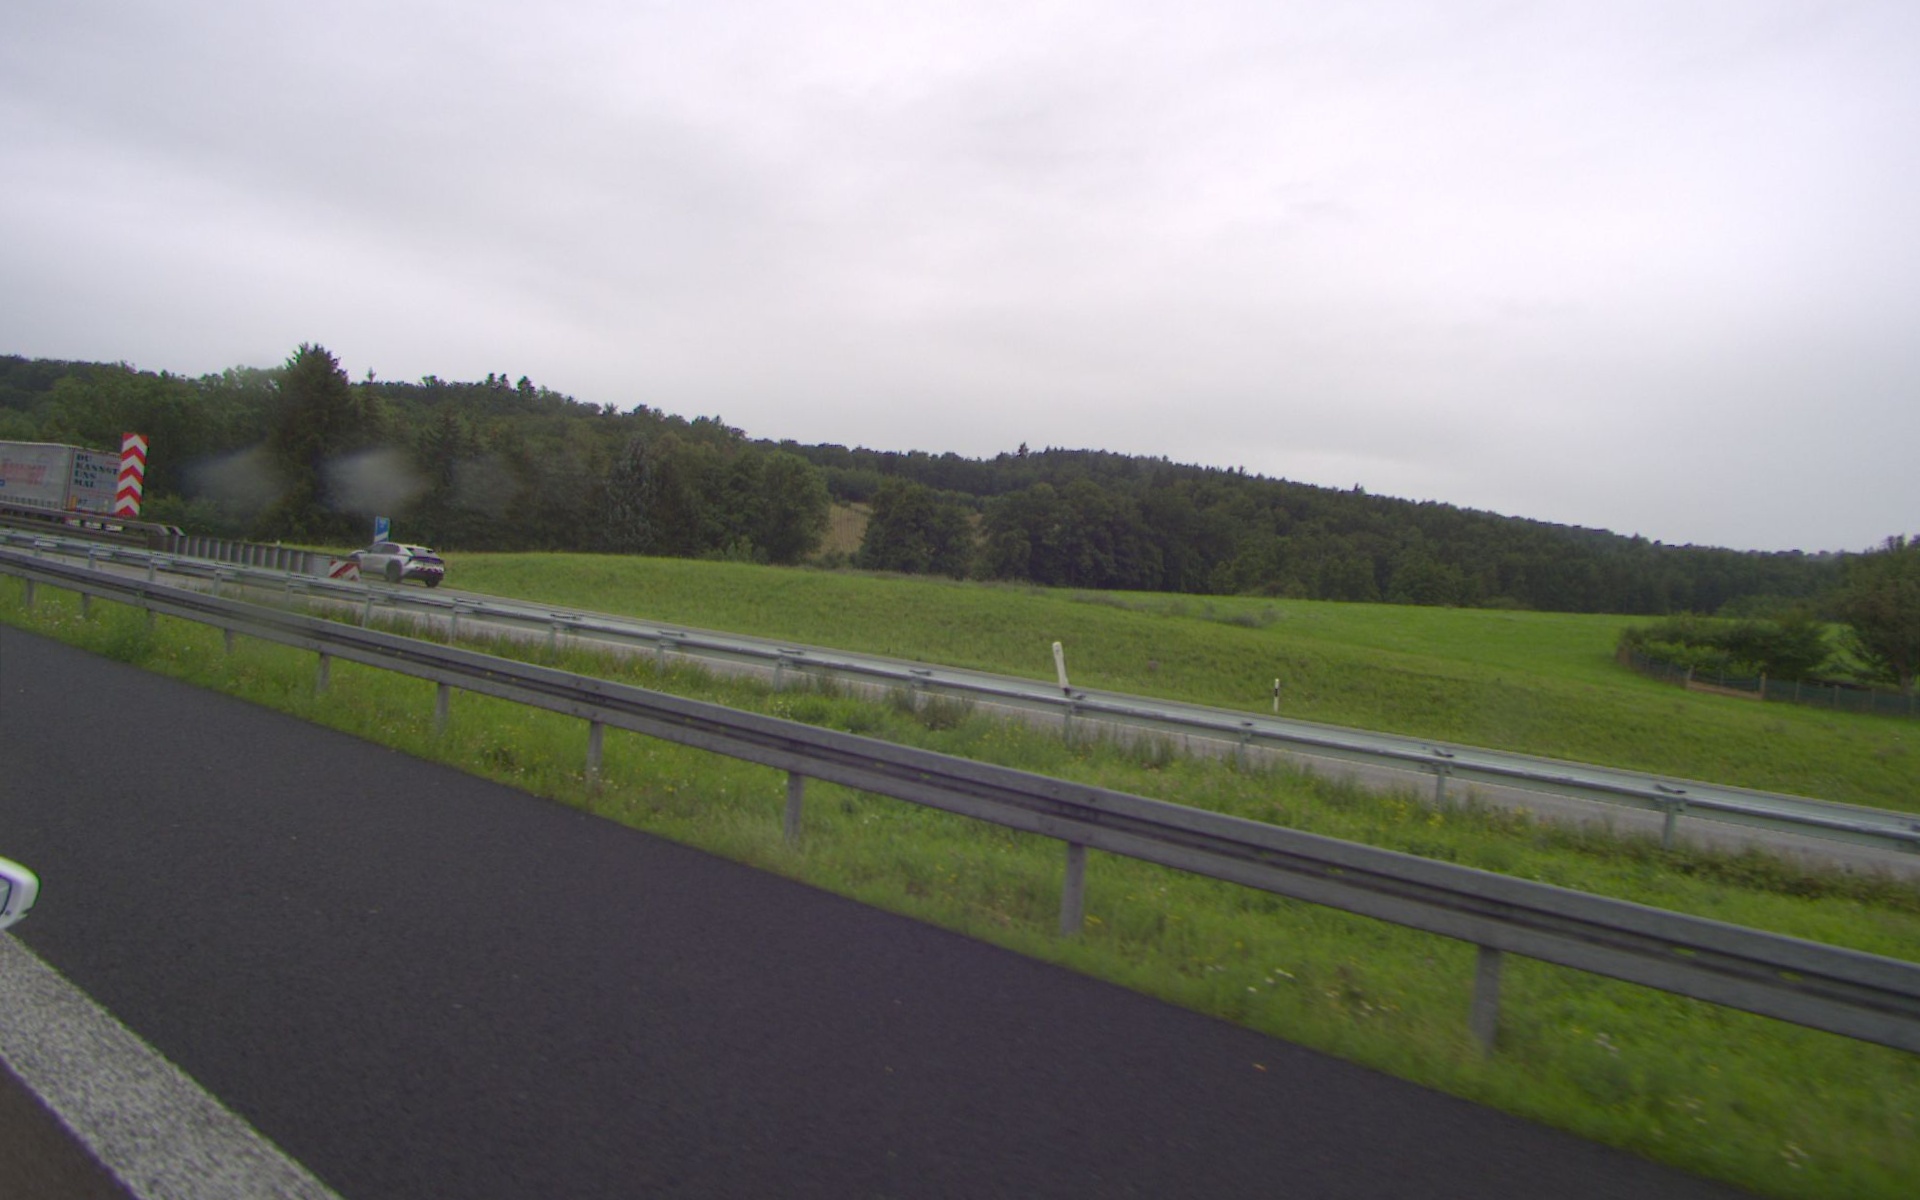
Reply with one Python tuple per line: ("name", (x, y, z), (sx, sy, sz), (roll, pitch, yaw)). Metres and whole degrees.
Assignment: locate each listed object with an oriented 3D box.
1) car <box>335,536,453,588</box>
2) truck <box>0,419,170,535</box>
("car", (-23.492, -1.585, 41.724), (4.945, 1.522, 1.823), (7, -1, 29))
("truck", (-46.381, -6.370, 50.497), (16.590, 4.595, 3.829), (6, -1, 28))
